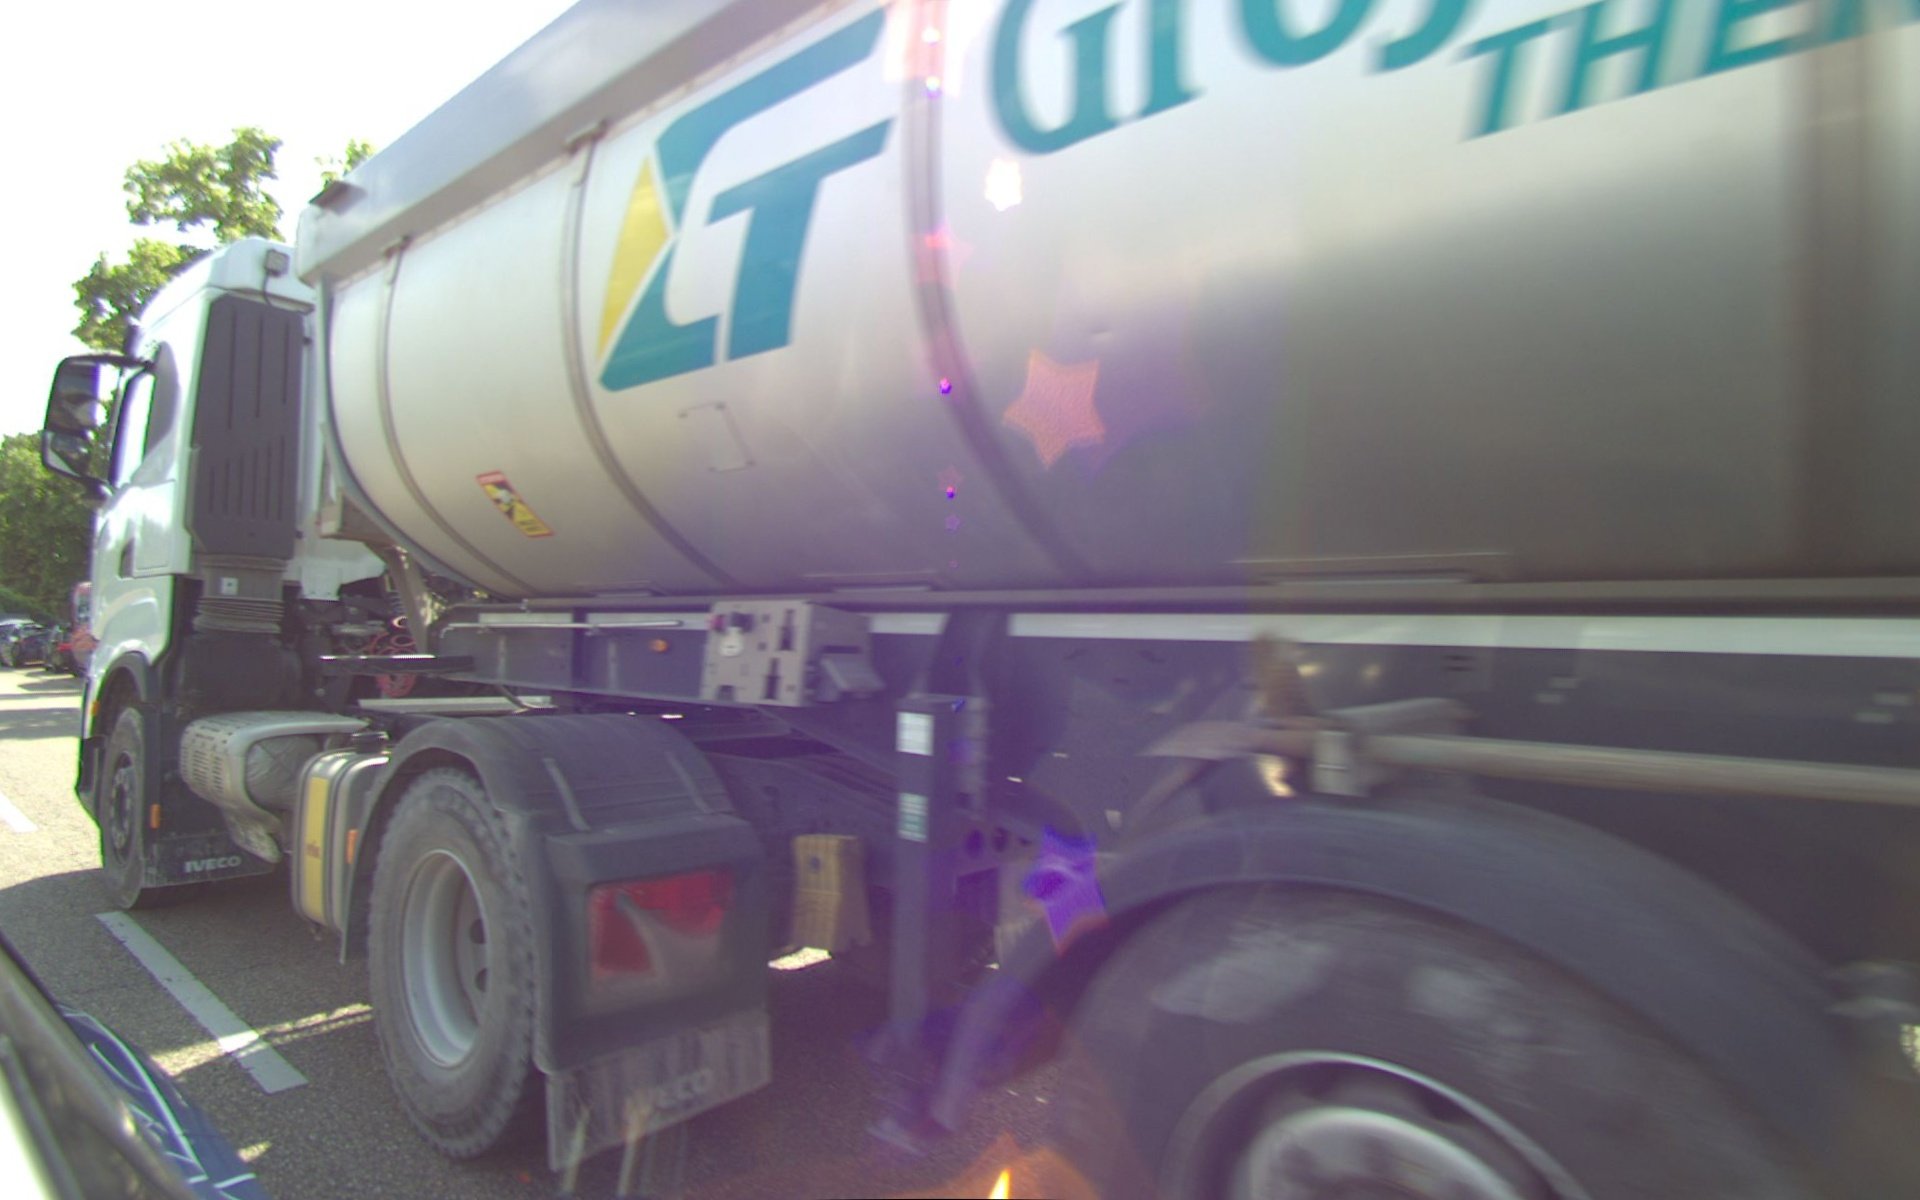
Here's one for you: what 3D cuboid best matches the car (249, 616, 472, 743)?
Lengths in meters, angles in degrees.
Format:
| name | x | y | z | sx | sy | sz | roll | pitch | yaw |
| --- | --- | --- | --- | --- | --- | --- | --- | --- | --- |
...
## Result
| name | x | y | z | sx | sy | sz | roll | pitch | yaw |
| --- | --- | --- | --- | --- | --- | --- | --- | --- | --- |
| car | -8.677 | 1.017 | 14.521 | 3.925 | 1.480 | 1.605 | -1 | 2 | 42 |

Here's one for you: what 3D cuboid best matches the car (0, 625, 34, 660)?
| name | x | y | z | sx | sy | sz | roll | pitch | yaw |
| --- | --- | --- | --- | --- | --- | --- | --- | --- | --- |
| car | -42.737 | 1.913 | 45.231 | 1.734 | 1.429 | 4.002 | -6 | 3 | -45 |

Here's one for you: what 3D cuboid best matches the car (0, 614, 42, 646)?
| name | x | y | z | sx | sy | sz | roll | pitch | yaw |
| --- | --- | --- | --- | --- | --- | --- | --- | --- | --- |
| car | -49.129 | 1.593 | 52.772 | 1.733 | 1.499 | 3.687 | -5 | 2 | -41 |

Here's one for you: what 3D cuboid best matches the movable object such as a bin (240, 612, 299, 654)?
| name | x | y | z | sx | sy | sz | roll | pitch | yaw |
| --- | --- | --- | --- | --- | --- | --- | --- | --- | --- |
| movable object such as a bin | -23.567 | 1.123 | 34.547 | 1.288 | 1.396 | 1.284 | -2 | -1 | 35 |

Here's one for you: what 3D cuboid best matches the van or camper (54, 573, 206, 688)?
| name | x | y | z | sx | sy | sz | roll | pitch | yaw |
| --- | --- | --- | --- | --- | --- | --- | --- | --- | --- |
| van or camper | -21.420 | 0.750 | 26.003 | 6.223 | 2.568 | 2.125 | -2 | 2 | 43 |

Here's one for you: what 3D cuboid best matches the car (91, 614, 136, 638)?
| name | x | y | z | sx | sy | sz | roll | pitch | yaw |
| --- | --- | --- | --- | --- | --- | --- | --- | --- | --- |
| car | -63.823 | 1.960 | 76.323 | 1.792 | 1.737 | 3.694 | 0 | -1 | -27 |

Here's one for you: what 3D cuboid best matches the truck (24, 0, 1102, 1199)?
| name | x | y | z | sx | sy | sz | roll | pitch | yaw |
| --- | --- | --- | --- | --- | --- | --- | --- | --- | --- |
| truck | -2.506 | -0.227 | 5.273 | 5.877 | 3.525 | 2.745 | -1 | -1 | 40 |

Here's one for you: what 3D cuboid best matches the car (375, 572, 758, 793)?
| name | x | y | z | sx | sy | sz | roll | pitch | yaw |
| --- | --- | --- | --- | --- | --- | --- | --- | --- | --- |
| car | -4.303 | 0.717 | 10.703 | 4.488 | 1.819 | 1.792 | -1 | 2 | 40 |

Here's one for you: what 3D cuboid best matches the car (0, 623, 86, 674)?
| name | x | y | z | sx | sy | sz | roll | pitch | yaw |
| --- | --- | --- | --- | --- | --- | --- | --- | --- | --- |
| car | -30.814 | 1.569 | 33.739 | 4.626 | 1.488 | 1.714 | -2 | 1 | 39 |

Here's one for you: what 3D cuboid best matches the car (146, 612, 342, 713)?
| name | x | y | z | sx | sy | sz | roll | pitch | yaw |
| --- | --- | --- | --- | --- | --- | --- | --- | --- | --- |
| car | -13.094 | 1.038 | 18.401 | 4.593 | 1.504 | 1.791 | -1 | 2 | 41 |

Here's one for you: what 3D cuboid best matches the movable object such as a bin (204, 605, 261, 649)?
| name | x | y | z | sx | sy | sz | roll | pitch | yaw |
| --- | --- | --- | --- | --- | --- | --- | --- | --- | --- |
| movable object such as a bin | -25.840 | 0.971 | 35.959 | 1.302 | 1.497 | 1.284 | -2 | -1 | 35 |

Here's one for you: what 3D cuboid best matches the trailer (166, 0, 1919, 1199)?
| name | x | y | z | sx | sy | sz | roll | pitch | yaw |
| --- | --- | --- | --- | --- | --- | --- | --- | --- | --- |
| trailer | 1.436 | -0.117 | 2.016 | 8.879 | 3.092 | 2.807 | -1 | -1 | 39 |

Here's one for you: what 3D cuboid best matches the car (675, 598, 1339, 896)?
| name | x | y | z | sx | sy | sz | roll | pitch | yaw |
| --- | --- | --- | --- | --- | --- | --- | --- | --- | --- |
| car | 0.090 | 0.850 | 7.431 | 4.703 | 1.472 | 1.732 | -3 | 1 | 39 |

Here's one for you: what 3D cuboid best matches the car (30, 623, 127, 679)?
| name | x | y | z | sx | sy | sz | roll | pitch | yaw |
| --- | --- | --- | --- | --- | --- | --- | --- | --- | --- |
| car | -26.280 | 1.464 | 30.114 | 4.464 | 1.447 | 1.670 | -1 | 2 | 43 |
